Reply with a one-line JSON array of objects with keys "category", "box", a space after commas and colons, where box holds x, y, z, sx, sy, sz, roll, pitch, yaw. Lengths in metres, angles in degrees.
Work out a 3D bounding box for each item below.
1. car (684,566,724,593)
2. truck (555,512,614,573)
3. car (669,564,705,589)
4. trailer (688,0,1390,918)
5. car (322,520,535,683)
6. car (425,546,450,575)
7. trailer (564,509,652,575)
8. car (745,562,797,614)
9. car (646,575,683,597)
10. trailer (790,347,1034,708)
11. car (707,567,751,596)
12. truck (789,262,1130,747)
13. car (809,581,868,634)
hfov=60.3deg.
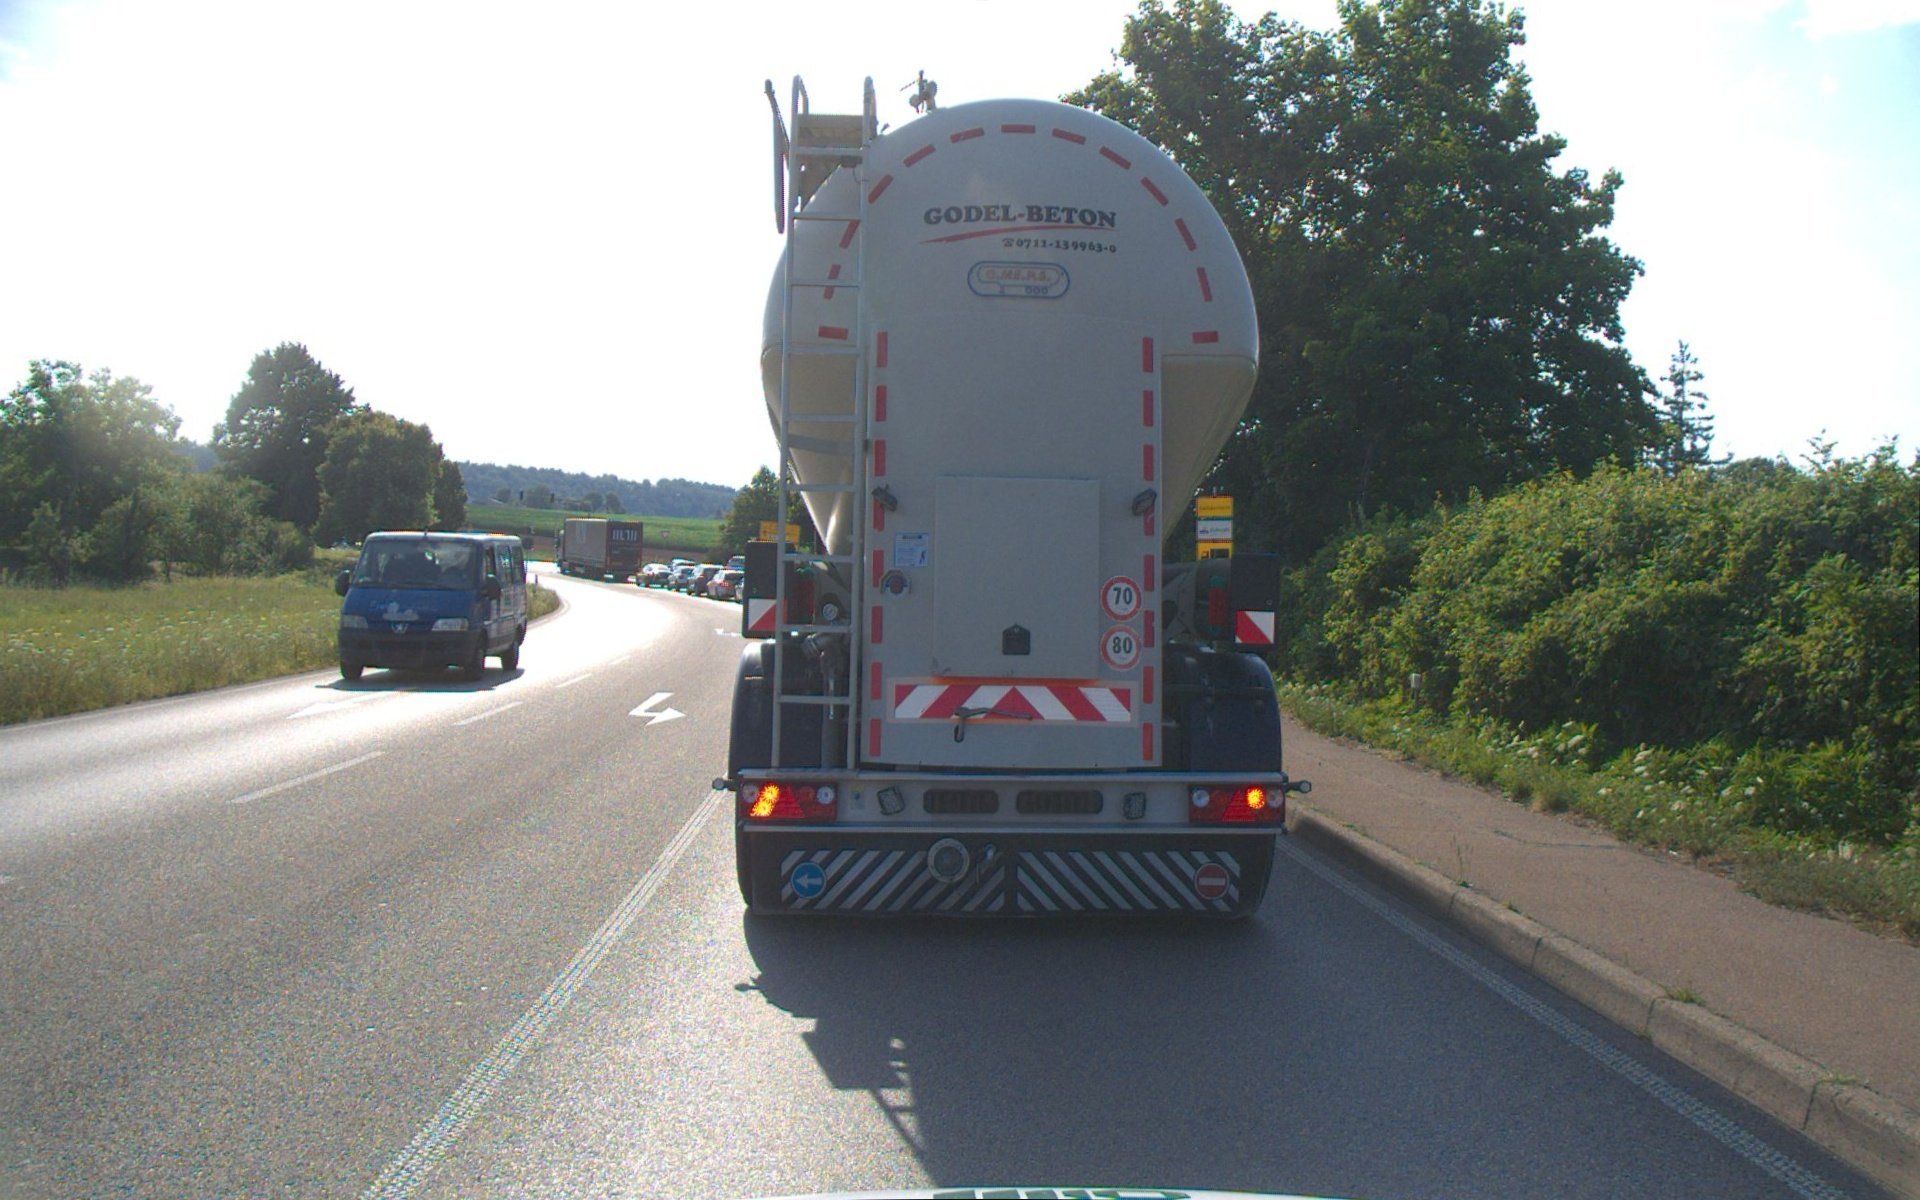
[{"category": "car", "box": [-13.724, -1.103, 88.624, 1.556, 1.364, 3.408, 2, 1, -18]}, {"category": "truck", "box": [-29.072, -4.419, 127.791, 3.331, 4.426, 5.663, 2, 0, -24]}, {"category": "car", "box": [-15.957, -1.387, 96.466, 1.556, 1.364, 3.408, 2, 1, -18]}, {"category": "trailer", "box": [0.090, -0.774, 11.758, 2.851, 4.076, 9.924, 1, 0, -3]}, {"category": "car", "box": [-7.836, 0.004, 24.883, 1.959, 2.174, 4.774, 1, 0, -5]}, {"category": "car", "box": [-51.190, -3.879, 161.979, 1.635, 2.760, 3.443, 3, 0, -28]}, {"category": "trailer", "box": [-25.771, -4.156, 120.286, 3.331, 4.426, 14.188, 2, 1, -24]}, {"category": "car", "box": [-7.856, -0.510, 68.443, 1.829, 2.049, 3.709, 1, 1, -12]}, {"category": "car", "box": [-18.429, -0.884, 103.021, 1.742, 1.227, 3.408, 2, 1, -18]}, {"category": "trailer", "box": [-0.699, -0.971, 27.723, 2.895, 4.390, 14.173, 2, 1, -1]}, {"category": "car", "box": [-11.565, -0.921, 82.541, 1.556, 1.364, 3.408, 2, 1, -18]}, {"category": "truck", "box": [-0.115, -0.813, 16.078, 2.852, 4.076, 4.057, 1, 0, -4]}, {"category": "car", "box": [-3.370, 0.185, 45.856, 1.549, 1.364, 3.422, 2, 1, -4]}]
